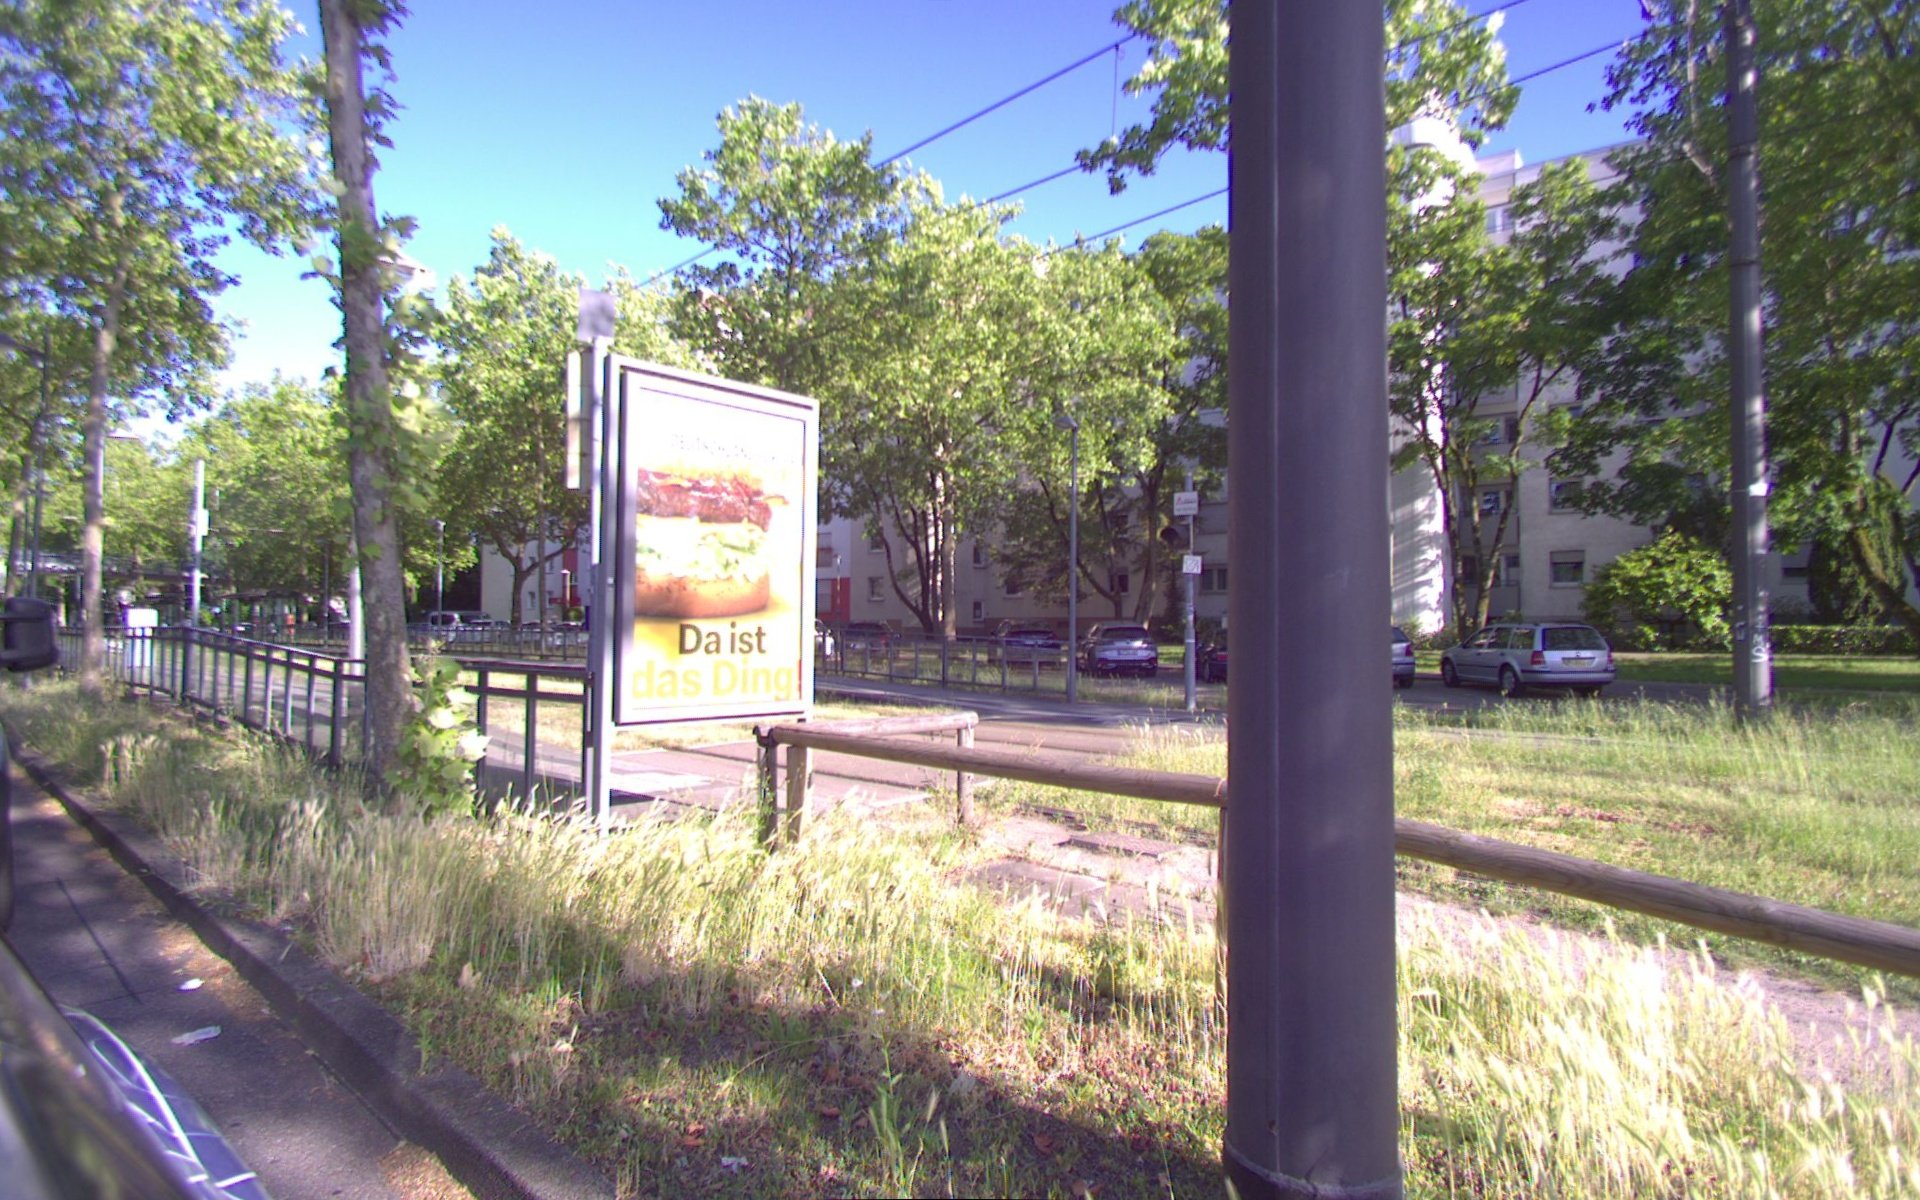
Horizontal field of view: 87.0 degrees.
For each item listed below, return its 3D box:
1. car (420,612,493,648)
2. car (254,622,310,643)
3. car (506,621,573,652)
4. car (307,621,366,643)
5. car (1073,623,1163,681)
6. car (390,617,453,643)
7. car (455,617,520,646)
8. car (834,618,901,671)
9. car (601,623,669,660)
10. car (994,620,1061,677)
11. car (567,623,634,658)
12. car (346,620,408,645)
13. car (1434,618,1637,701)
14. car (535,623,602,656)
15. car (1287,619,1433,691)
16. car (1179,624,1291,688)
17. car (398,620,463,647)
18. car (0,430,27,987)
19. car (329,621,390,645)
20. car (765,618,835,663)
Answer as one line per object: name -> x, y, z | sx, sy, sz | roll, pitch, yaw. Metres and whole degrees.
car -> -28.428, 1.661, 57.306 | 1.993, 1.934, 4.433 | -1, -1, -1
car -> -53.056, 2.540, 79.323 | 1.770, 1.510, 4.050 | -1, -1, -1
car -> -21.248, 1.818, 51.300 | 1.770, 1.510, 4.050 | -1, -1, -1
car -> -44.690, 2.294, 72.618 | 1.770, 1.510, 4.050 | -1, -1, -1
car -> 4.239, 1.369, 27.706 | 1.770, 1.398, 4.049 | -1, -1, 0
car -> -33.010, 1.800, 62.165 | 1.770, 1.510, 4.050 | -1, -1, -1
car -> -25.974, 1.706, 55.747 | 1.770, 1.510, 4.050 | -1, -1, -1
car -> -3.118, 1.483, 34.810 | 1.771, 1.676, 4.047 | -1, -1, 2
car -> -14.222, 1.791, 44.491 | 1.770, 1.510, 4.050 | -1, -1, -1
car -> 1.905, 1.364, 29.736 | 1.771, 1.510, 4.047 | -1, -1, 2
car -> -16.777, 1.843, 47.377 | 1.770, 1.510, 4.050 | -1, -1, -1
car -> -37.618, 2.092, 65.445 | 1.770, 1.510, 4.050 | -1, -1, -1
car -> 11.591, 1.137, 20.742 | 1.789, 1.498, 4.049 | -1, -1, 0
car -> -19.108, 1.902, 49.568 | 1.770, 1.510, 4.050 | -1, -1, -1
car -> 9.212, 1.224, 23.686 | 1.740, 1.498, 4.049 | -1, -1, 0
car -> 6.753, 1.332, 25.272 | 1.654, 1.398, 4.049 | -1, -1, 0
car -> -31.007, 1.941, 59.429 | 1.770, 1.510, 4.050 | -1, -1, -1
car -> -6.566, 0.460, 5.191 | 5.659, 2.221, 2.013 | -1, -2, 41
car -> -40.128, 2.163, 67.703 | 1.770, 1.510, 4.050 | -1, -1, -1
car -> -5.793, 1.432, 37.075 | 1.771, 1.510, 4.047 | -1, -1, 2
